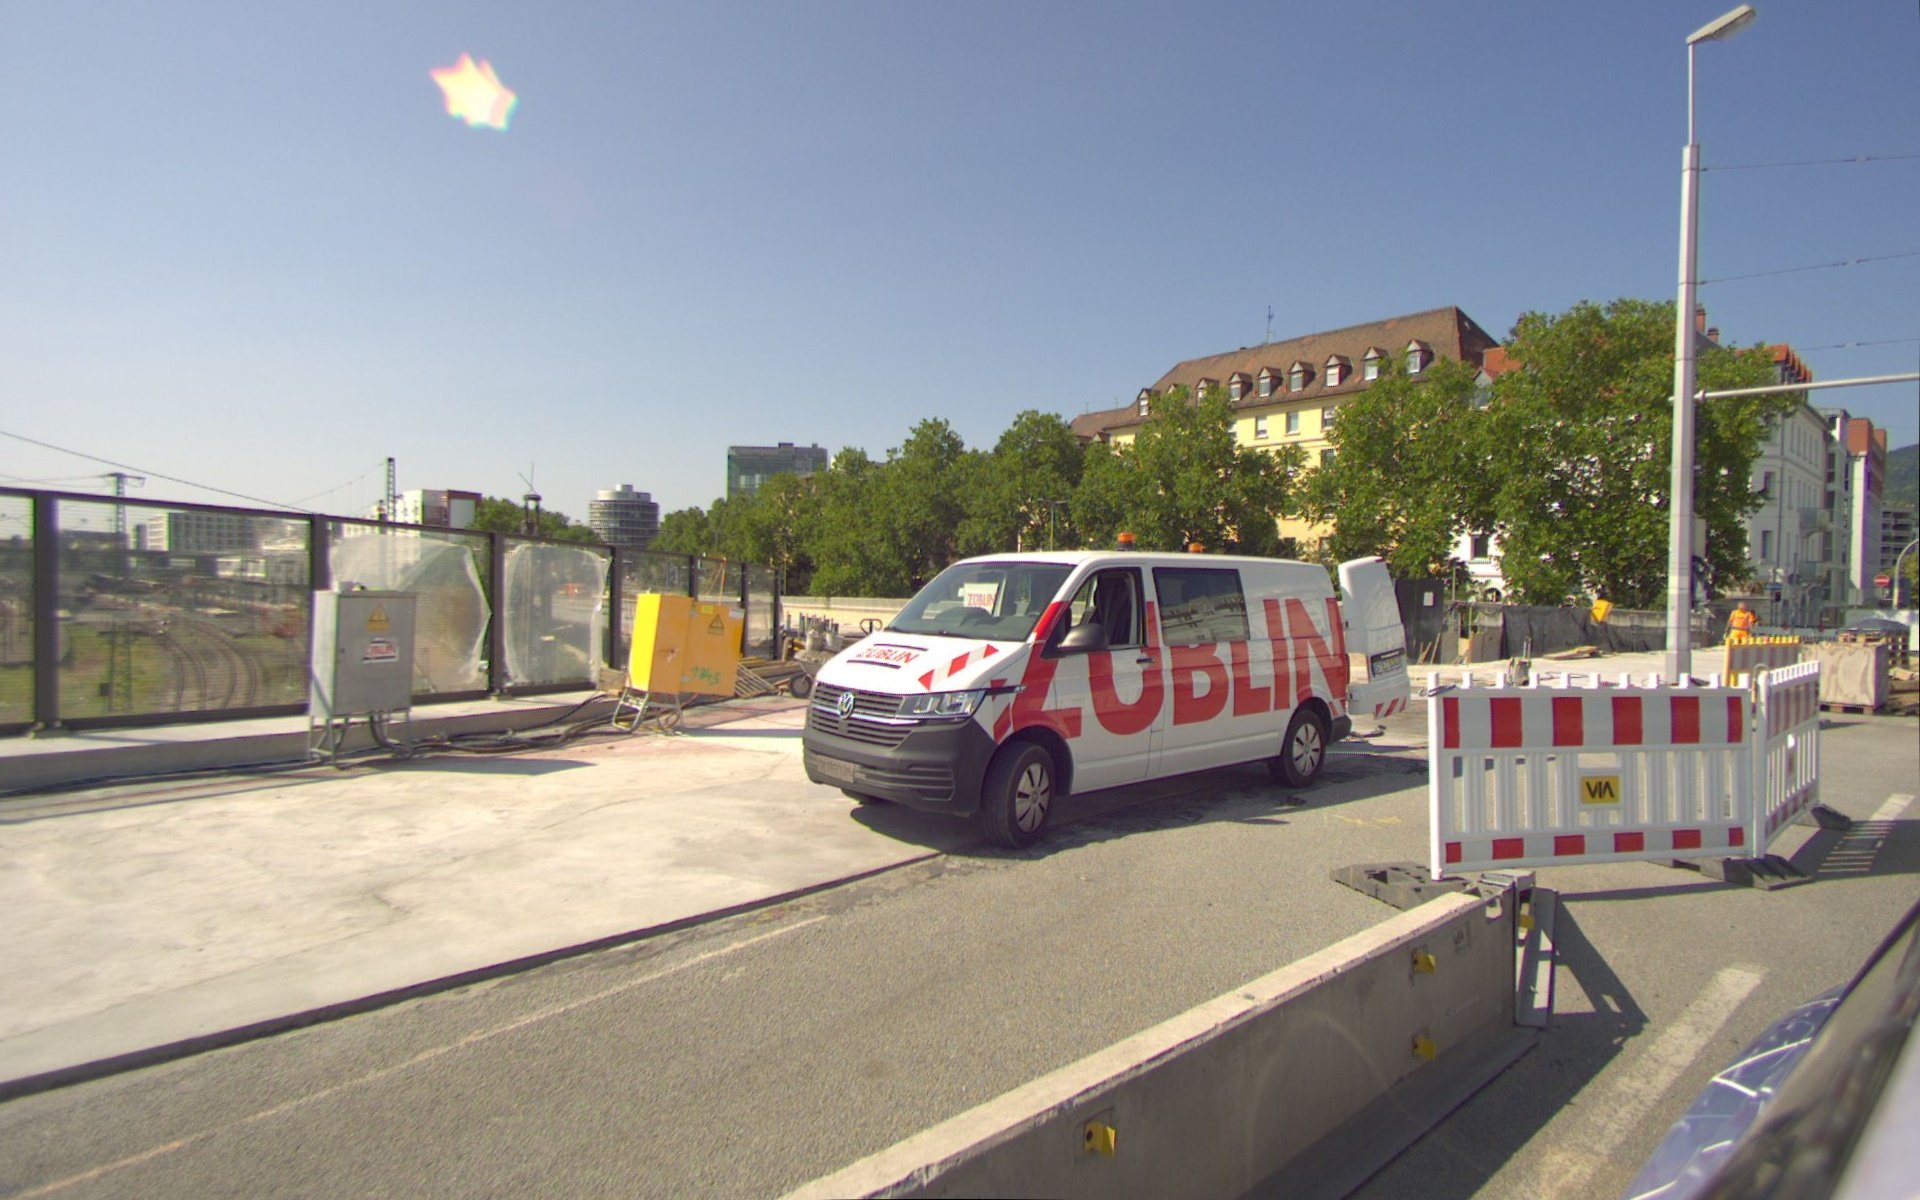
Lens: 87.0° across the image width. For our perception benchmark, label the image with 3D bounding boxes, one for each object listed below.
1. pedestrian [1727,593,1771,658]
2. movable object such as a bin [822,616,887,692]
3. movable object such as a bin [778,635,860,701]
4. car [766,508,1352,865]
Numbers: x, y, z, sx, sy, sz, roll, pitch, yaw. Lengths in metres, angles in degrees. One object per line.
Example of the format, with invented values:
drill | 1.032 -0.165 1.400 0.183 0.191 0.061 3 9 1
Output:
pedestrian | 23.232 0.741 29.801 0.849 1.817 0.820 1 2 -42
movable object such as a bin | -1.771 0.885 16.742 0.595 1.144 2.045 -2 -2 -18
movable object such as a bin | -2.111 1.011 15.246 1.083 0.853 0.757 5 0 -2
car | 1.036 0.483 8.124 4.804 2.059 1.882 0 0 -40
